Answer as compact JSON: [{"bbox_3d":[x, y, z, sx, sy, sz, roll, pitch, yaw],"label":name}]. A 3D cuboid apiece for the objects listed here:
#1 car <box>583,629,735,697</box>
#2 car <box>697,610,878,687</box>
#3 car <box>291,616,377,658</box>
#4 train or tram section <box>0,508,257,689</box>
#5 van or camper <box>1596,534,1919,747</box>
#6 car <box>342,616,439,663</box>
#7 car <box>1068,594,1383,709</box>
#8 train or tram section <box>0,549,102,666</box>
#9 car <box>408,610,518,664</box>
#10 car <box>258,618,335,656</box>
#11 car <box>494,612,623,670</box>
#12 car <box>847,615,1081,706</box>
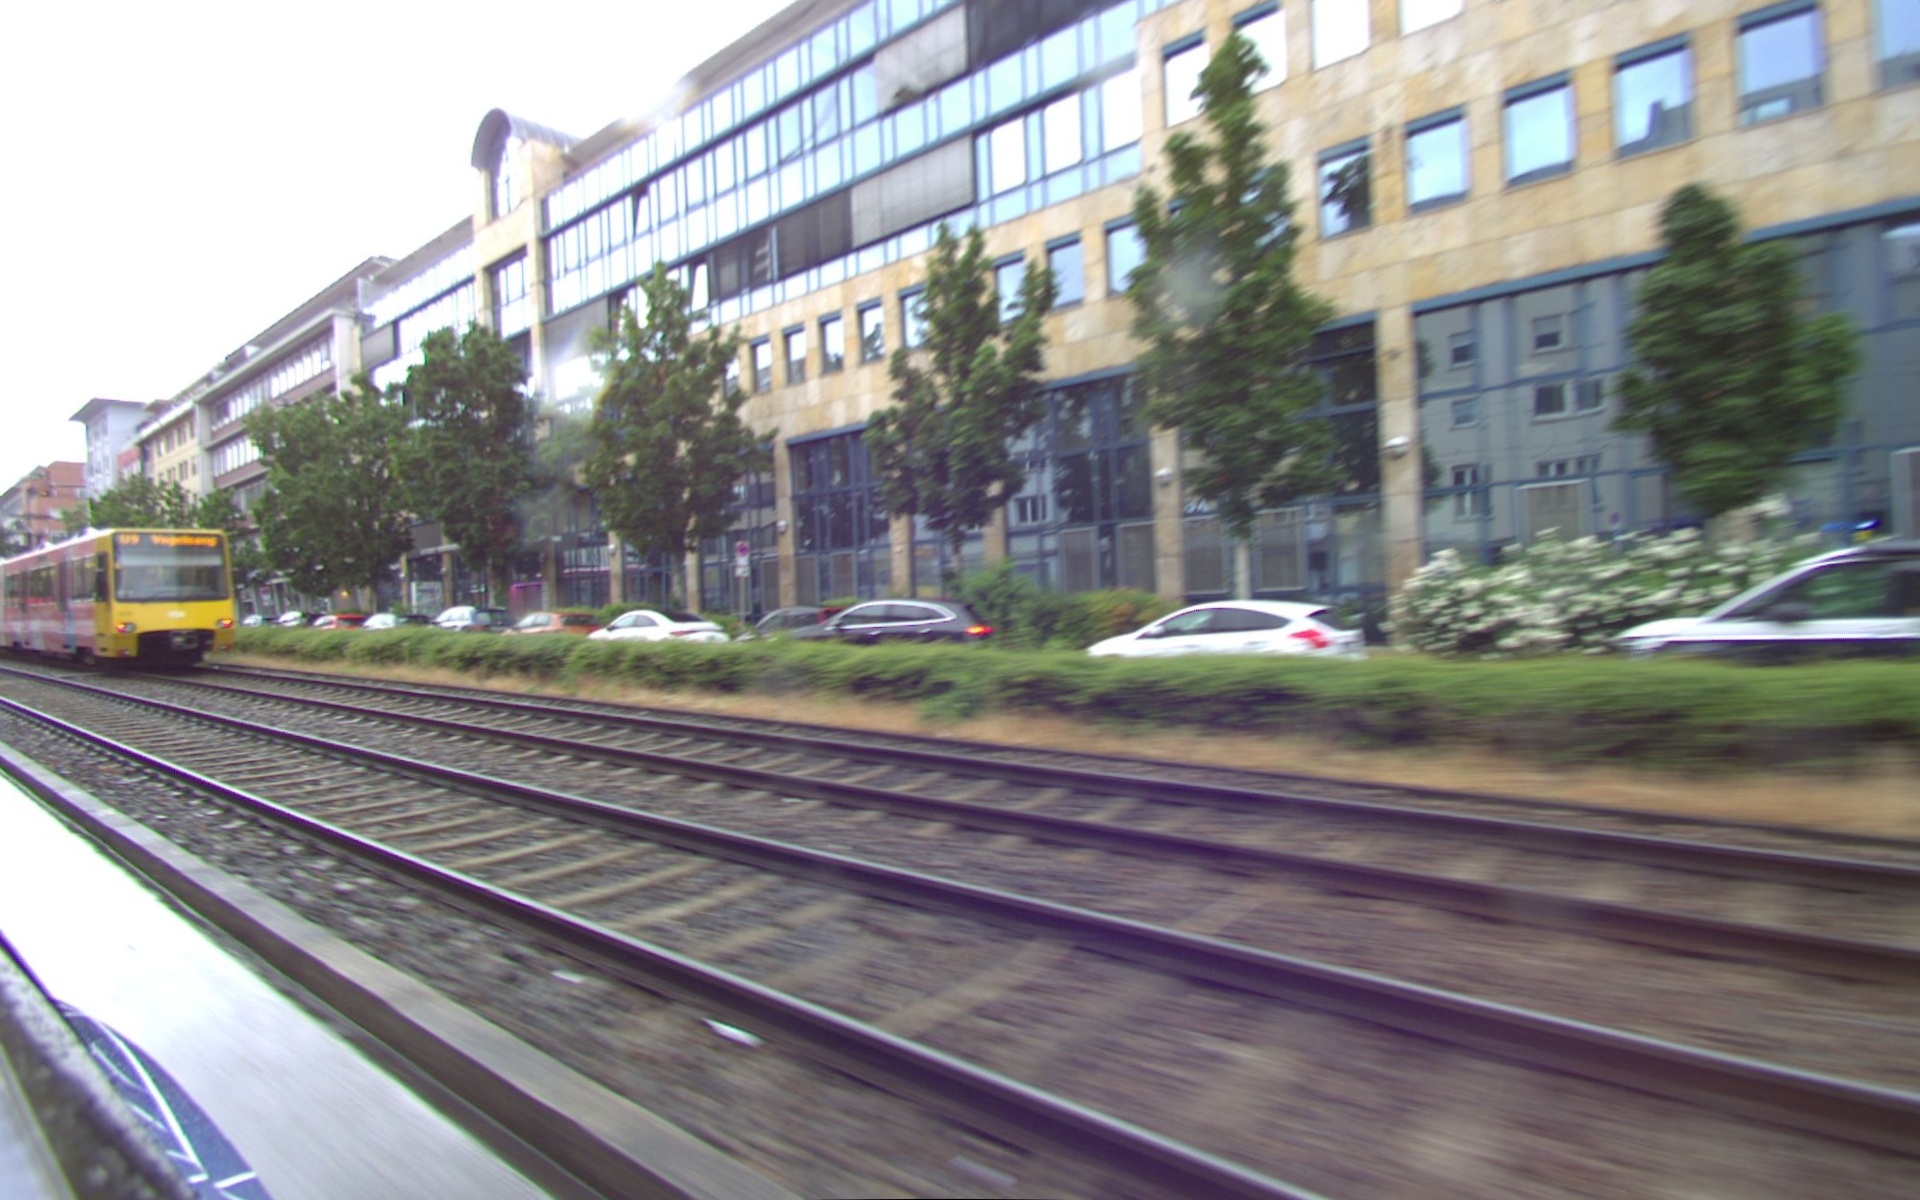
[{"bbox_3d":[-7.545,1.517,25.137,4.190,1.509,1.632,-2,-1,41],"label":"car"},{"bbox_3d":[-3.836,1.054,22.204,3.996,1.497,1.672,-3,-1,39],"label":"car"},{"bbox_3d":[-25.092,1.475,40.505,4.619,1.552,1.632,-2,-1,41],"label":"car"},{"bbox_3d":[-25.390,0.122,30.005,18.756,4.081,2.872,-1,-1,41],"label":"train or tram section"},{"bbox_3d":[9.703,0.369,10.314,5.195,2.012,1.996,-1,0,41],"label":"van or camper"},{"bbox_3d":[-20.683,1.417,36.693,4.619,1.552,1.632,-2,-1,41],"label":"car"},{"bbox_3d":[3.902,0.761,15.298,4.251,1.497,1.672,-3,-1,39],"label":"car"},{"bbox_3d":[-39.473,0.422,42.161,18.400,4.081,2.872,-1,-1,41],"label":"train or tram section"},{"bbox_3d":[-16.027,1.175,32.553,4.290,1.613,1.632,-2,-1,41],"label":"car"},{"bbox_3d":[-28.653,1.587,43.658,4.619,1.552,1.632,-2,-1,41],"label":"car"},{"bbox_3d":[-11.478,1.155,28.765,4.290,1.509,1.632,-2,-1,41],"label":"car"},{"bbox_3d":[-0.004,1.131,19.202,4.290,1.497,1.672,-3,-1,39],"label":"car"}]
